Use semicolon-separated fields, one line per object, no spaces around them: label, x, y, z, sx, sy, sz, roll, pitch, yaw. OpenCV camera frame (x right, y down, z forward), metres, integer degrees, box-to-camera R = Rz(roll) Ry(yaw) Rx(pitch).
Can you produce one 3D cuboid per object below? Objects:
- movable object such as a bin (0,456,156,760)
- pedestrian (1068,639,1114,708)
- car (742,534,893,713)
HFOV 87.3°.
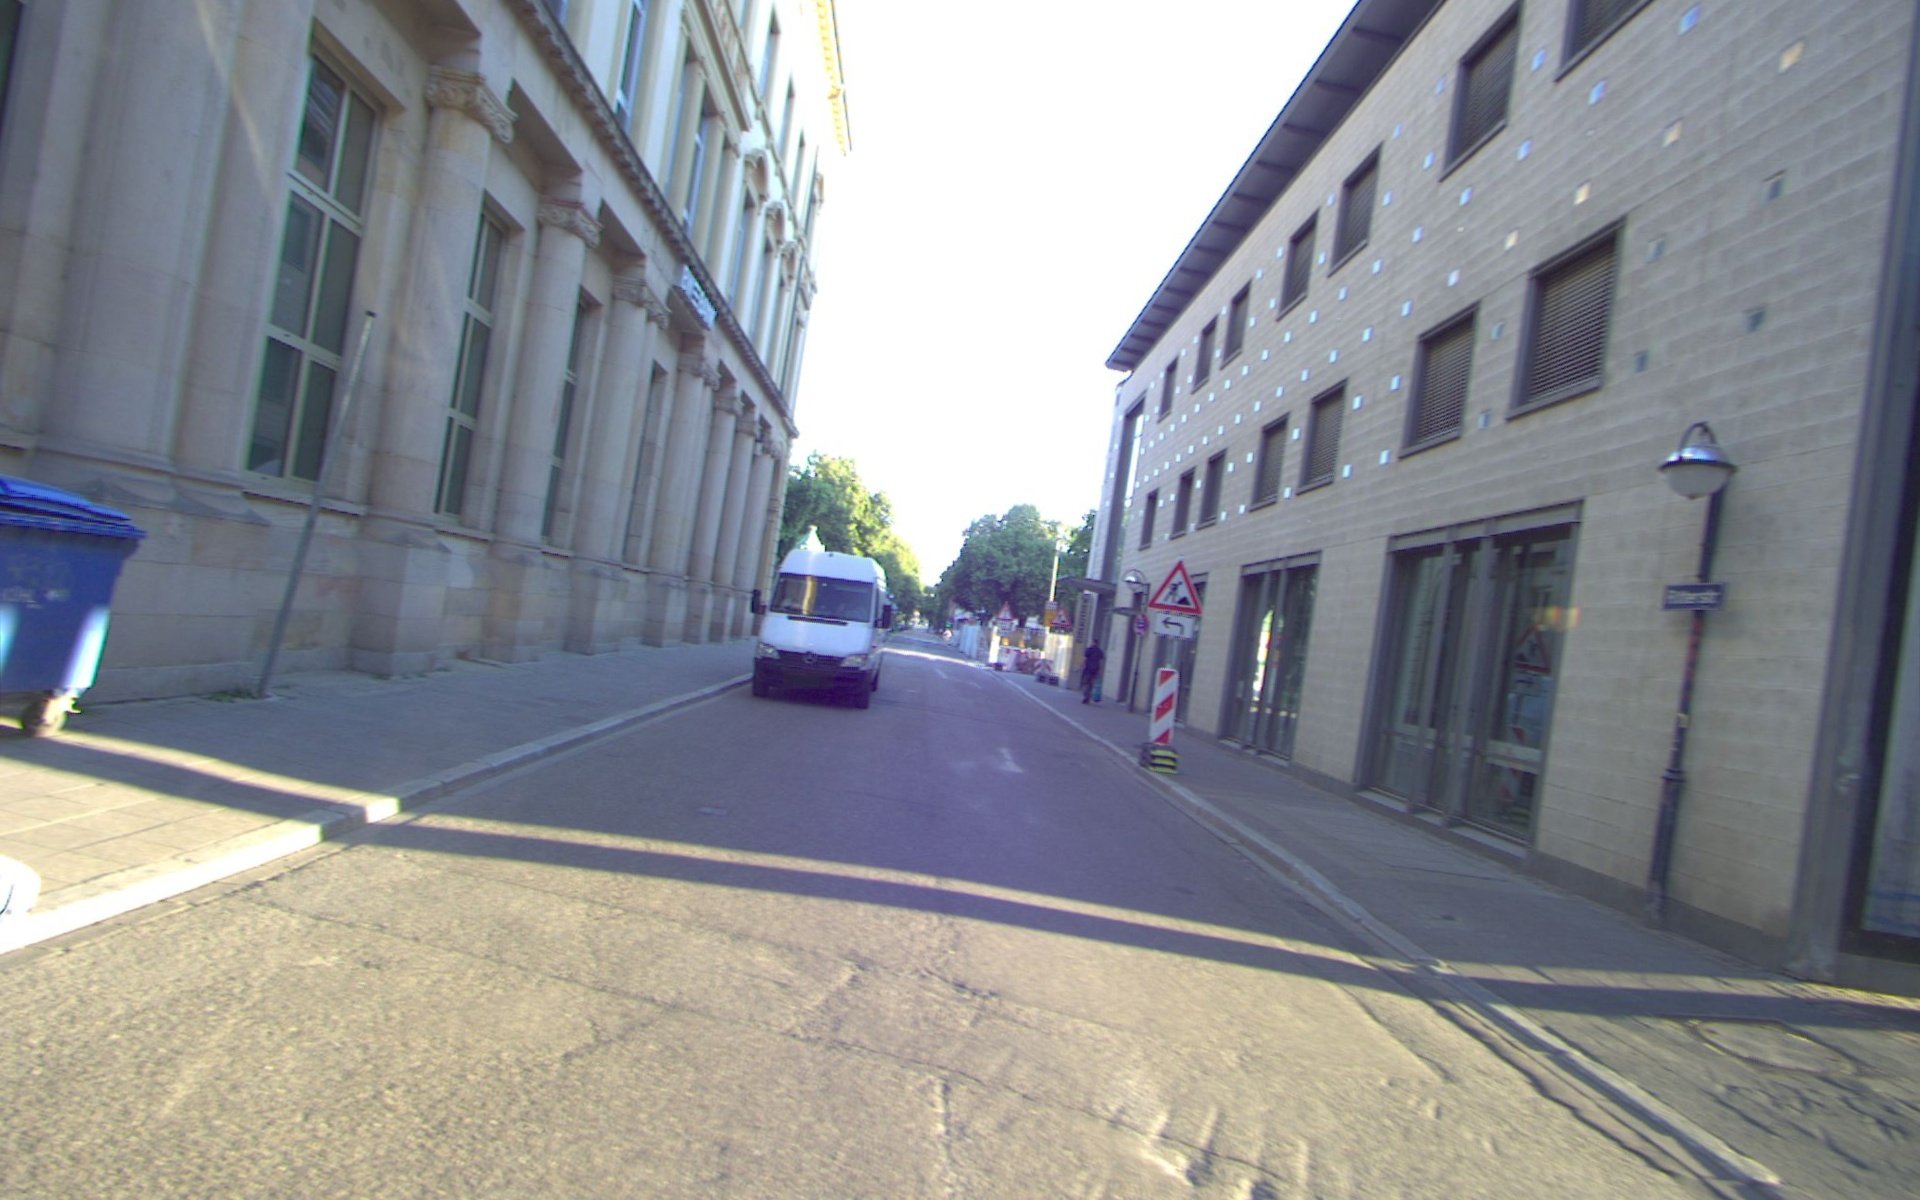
movable object such as a bin;-5.194;-0.025;5.104;1.058;1.491;1.188;9;-1;1
pedestrian;3.537;1.969;27.275;0.909;1.722;0.868;7;0;-3
car;-2.353;0.419;18.367;1.965;2.543;6.469;4;-1;-3
